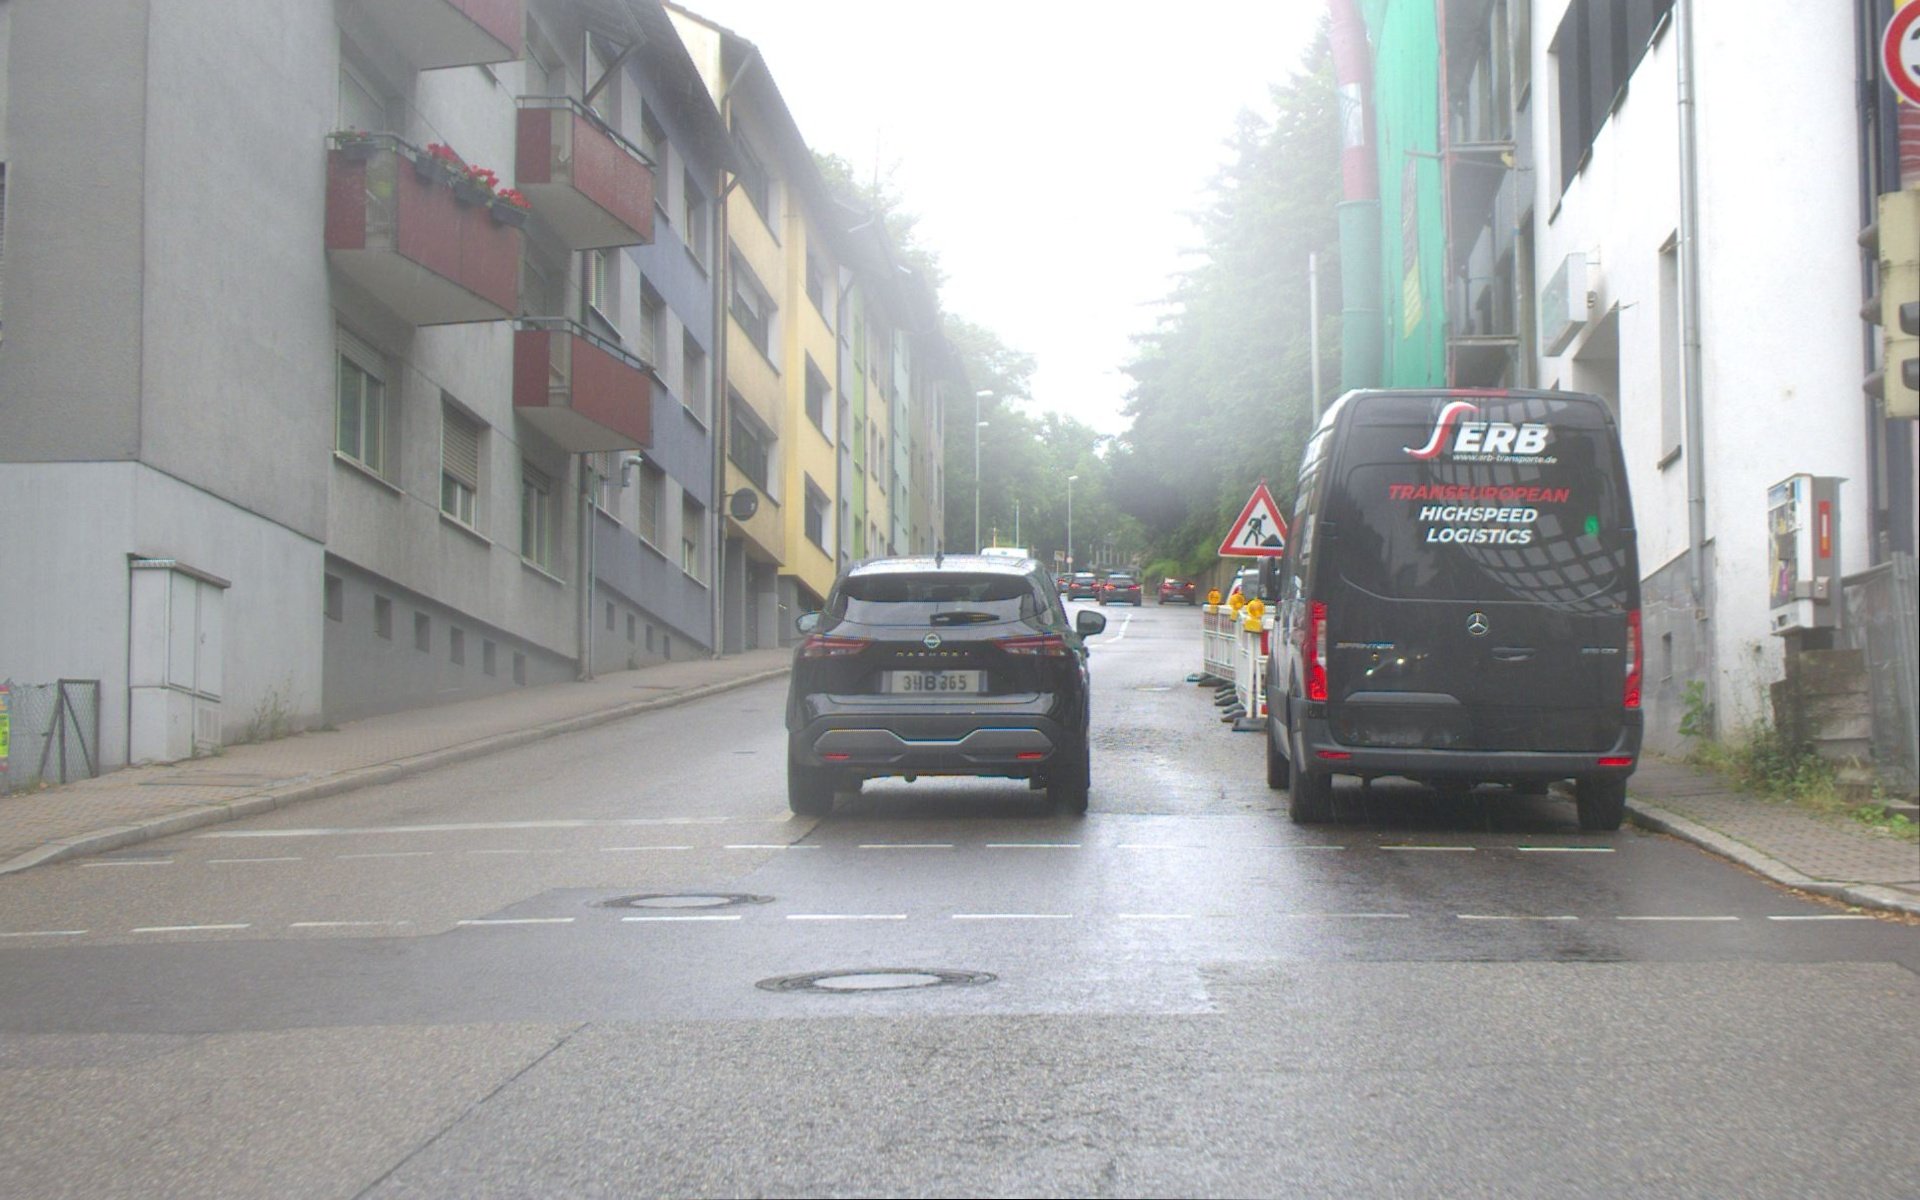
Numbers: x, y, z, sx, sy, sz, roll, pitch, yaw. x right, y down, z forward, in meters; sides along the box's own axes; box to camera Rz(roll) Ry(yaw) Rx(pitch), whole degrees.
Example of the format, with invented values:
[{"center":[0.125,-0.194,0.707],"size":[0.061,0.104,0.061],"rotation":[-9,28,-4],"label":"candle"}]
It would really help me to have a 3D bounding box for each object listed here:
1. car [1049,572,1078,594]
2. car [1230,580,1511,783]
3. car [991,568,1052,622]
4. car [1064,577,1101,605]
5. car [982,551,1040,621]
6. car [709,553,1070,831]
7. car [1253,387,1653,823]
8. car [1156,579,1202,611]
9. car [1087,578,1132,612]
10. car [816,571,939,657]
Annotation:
[{"center":[7.521,-1.251,249.051],"size":[2.074,1.554,4.000],"rotation":[0,1,2],"label":"car"},{"center":[3.298,0.621,28.367],"size":[1.994,1.507,4.337],"rotation":[1,0,3],"label":"car"},{"center":[2.114,-0.199,116.581],"size":[1.990,1.749,4.480],"rotation":[-1,1,2],"label":"car"},{"center":[6.970,-0.522,195.189],"size":[2.074,1.554,4.000],"rotation":[0,1,2],"label":"car"},{"center":[1.872,-0.528,124.831],"size":[1.990,2.466,5.784],"rotation":[-1,1,2],"label":"car"},{"center":[-0.348,0.504,21.963],"size":[1.994,1.554,4.000],"rotation":[1,1,3],"label":"car"},{"center":[3.008,0.103,22.175],"size":[1.994,2.406,5.835],"rotation":[1,-2,3],"label":"car"},{"center":[11.058,-0.253,173.827],"size":[2.074,1.554,4.000],"rotation":[0,1,0],"label":"car"},{"center":[7.087,-0.256,163.464],"size":[2.074,1.554,4.000],"rotation":[0,1,2],"label":"car"},{"center":[-1.643,0.261,70.065],"size":[1.994,1.644,4.441],"rotation":[0,1,5],"label":"car"}]
